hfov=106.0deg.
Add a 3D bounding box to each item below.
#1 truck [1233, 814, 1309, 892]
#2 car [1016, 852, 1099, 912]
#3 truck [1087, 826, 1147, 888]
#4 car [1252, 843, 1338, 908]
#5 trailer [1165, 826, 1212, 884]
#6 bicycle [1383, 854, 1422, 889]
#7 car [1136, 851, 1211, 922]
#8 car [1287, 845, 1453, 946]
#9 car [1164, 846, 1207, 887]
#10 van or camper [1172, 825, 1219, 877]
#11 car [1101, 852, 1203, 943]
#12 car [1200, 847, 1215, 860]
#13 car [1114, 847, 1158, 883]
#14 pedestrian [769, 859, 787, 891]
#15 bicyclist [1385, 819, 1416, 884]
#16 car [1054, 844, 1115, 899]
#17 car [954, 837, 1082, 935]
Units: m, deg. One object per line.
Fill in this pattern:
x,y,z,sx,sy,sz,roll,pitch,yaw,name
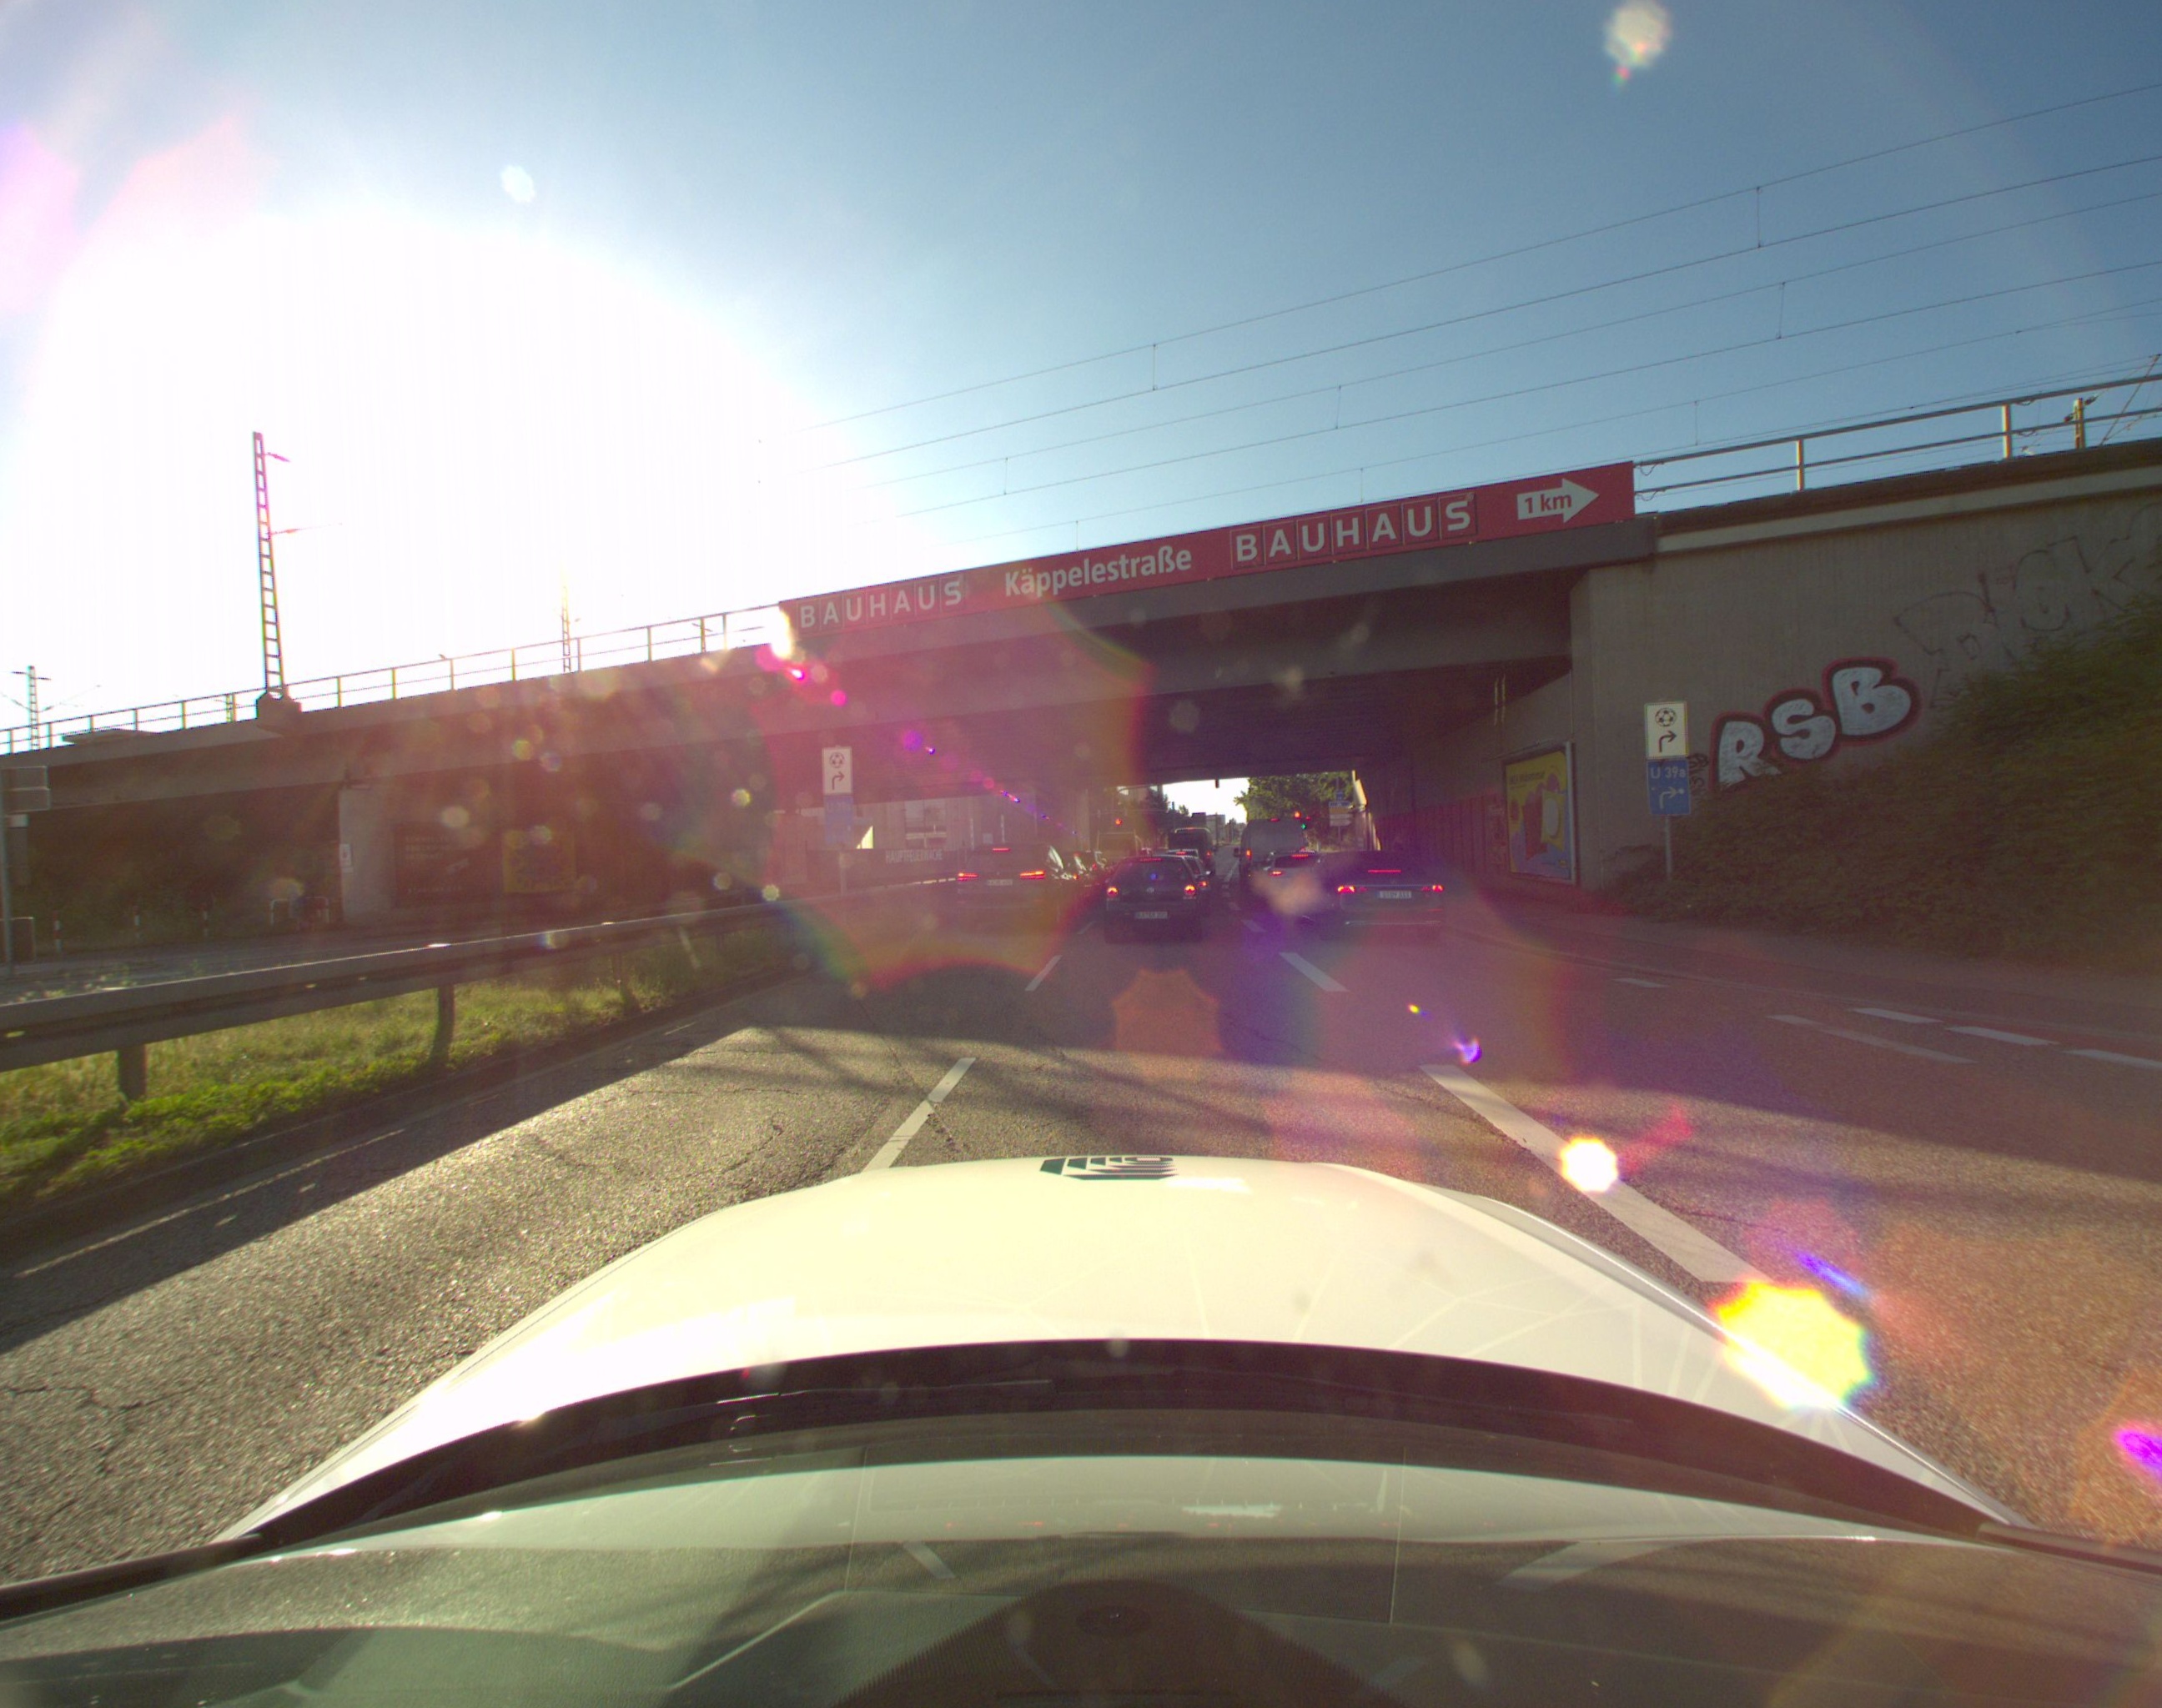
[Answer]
6.830,-0.003,29.740,2.100,2.519,4.410,-4,-1,7,truck
-0.590,0.777,23.715,1.832,1.440,3.681,-5,-1,6,car
1.742,0.162,37.170,2.016,2.557,5.551,-2,-1,9,truck
5.644,0.563,21.891,1.762,1.495,3.841,-3,-1,8,car
5.101,0.071,38.200,1.852,2.465,3.843,-3,-1,10,trailer
9.587,0.505,24.398,0.575,0.963,2.895,-2,-1,12,bicycle
2.272,0.720,19.768,1.539,1.423,3.424,-5,0,8,car
4.915,0.608,14.518,1.731,1.454,4.614,-2,1,6,car
4.280,0.512,33.009,1.572,1.532,3.841,-2,-1,9,car
6.319,-0.134,44.354,1.980,2.570,5.938,-2,-1,13,van or camper
1.281,0.727,14.816,1.574,1.408,3.836,-2,-1,5,car
16.052,-0.065,103.245,1.789,1.604,4.011,-2,-1,10,car
3.190,0.627,46.348,1.981,1.901,4.011,-2,-1,10,car
-18.000,1.251,48.381,0.689,1.903,0.667,-2,-1,10,pedestrian
9.570,-0.062,24.413,0.677,1.907,0.836,-2,-1,11,bicyclist
0.195,0.637,29.722,1.833,1.719,4.004,-5,-1,3,car
-1.164,0.625,17.206,1.820,1.738,4.469,-2,-1,6,car
